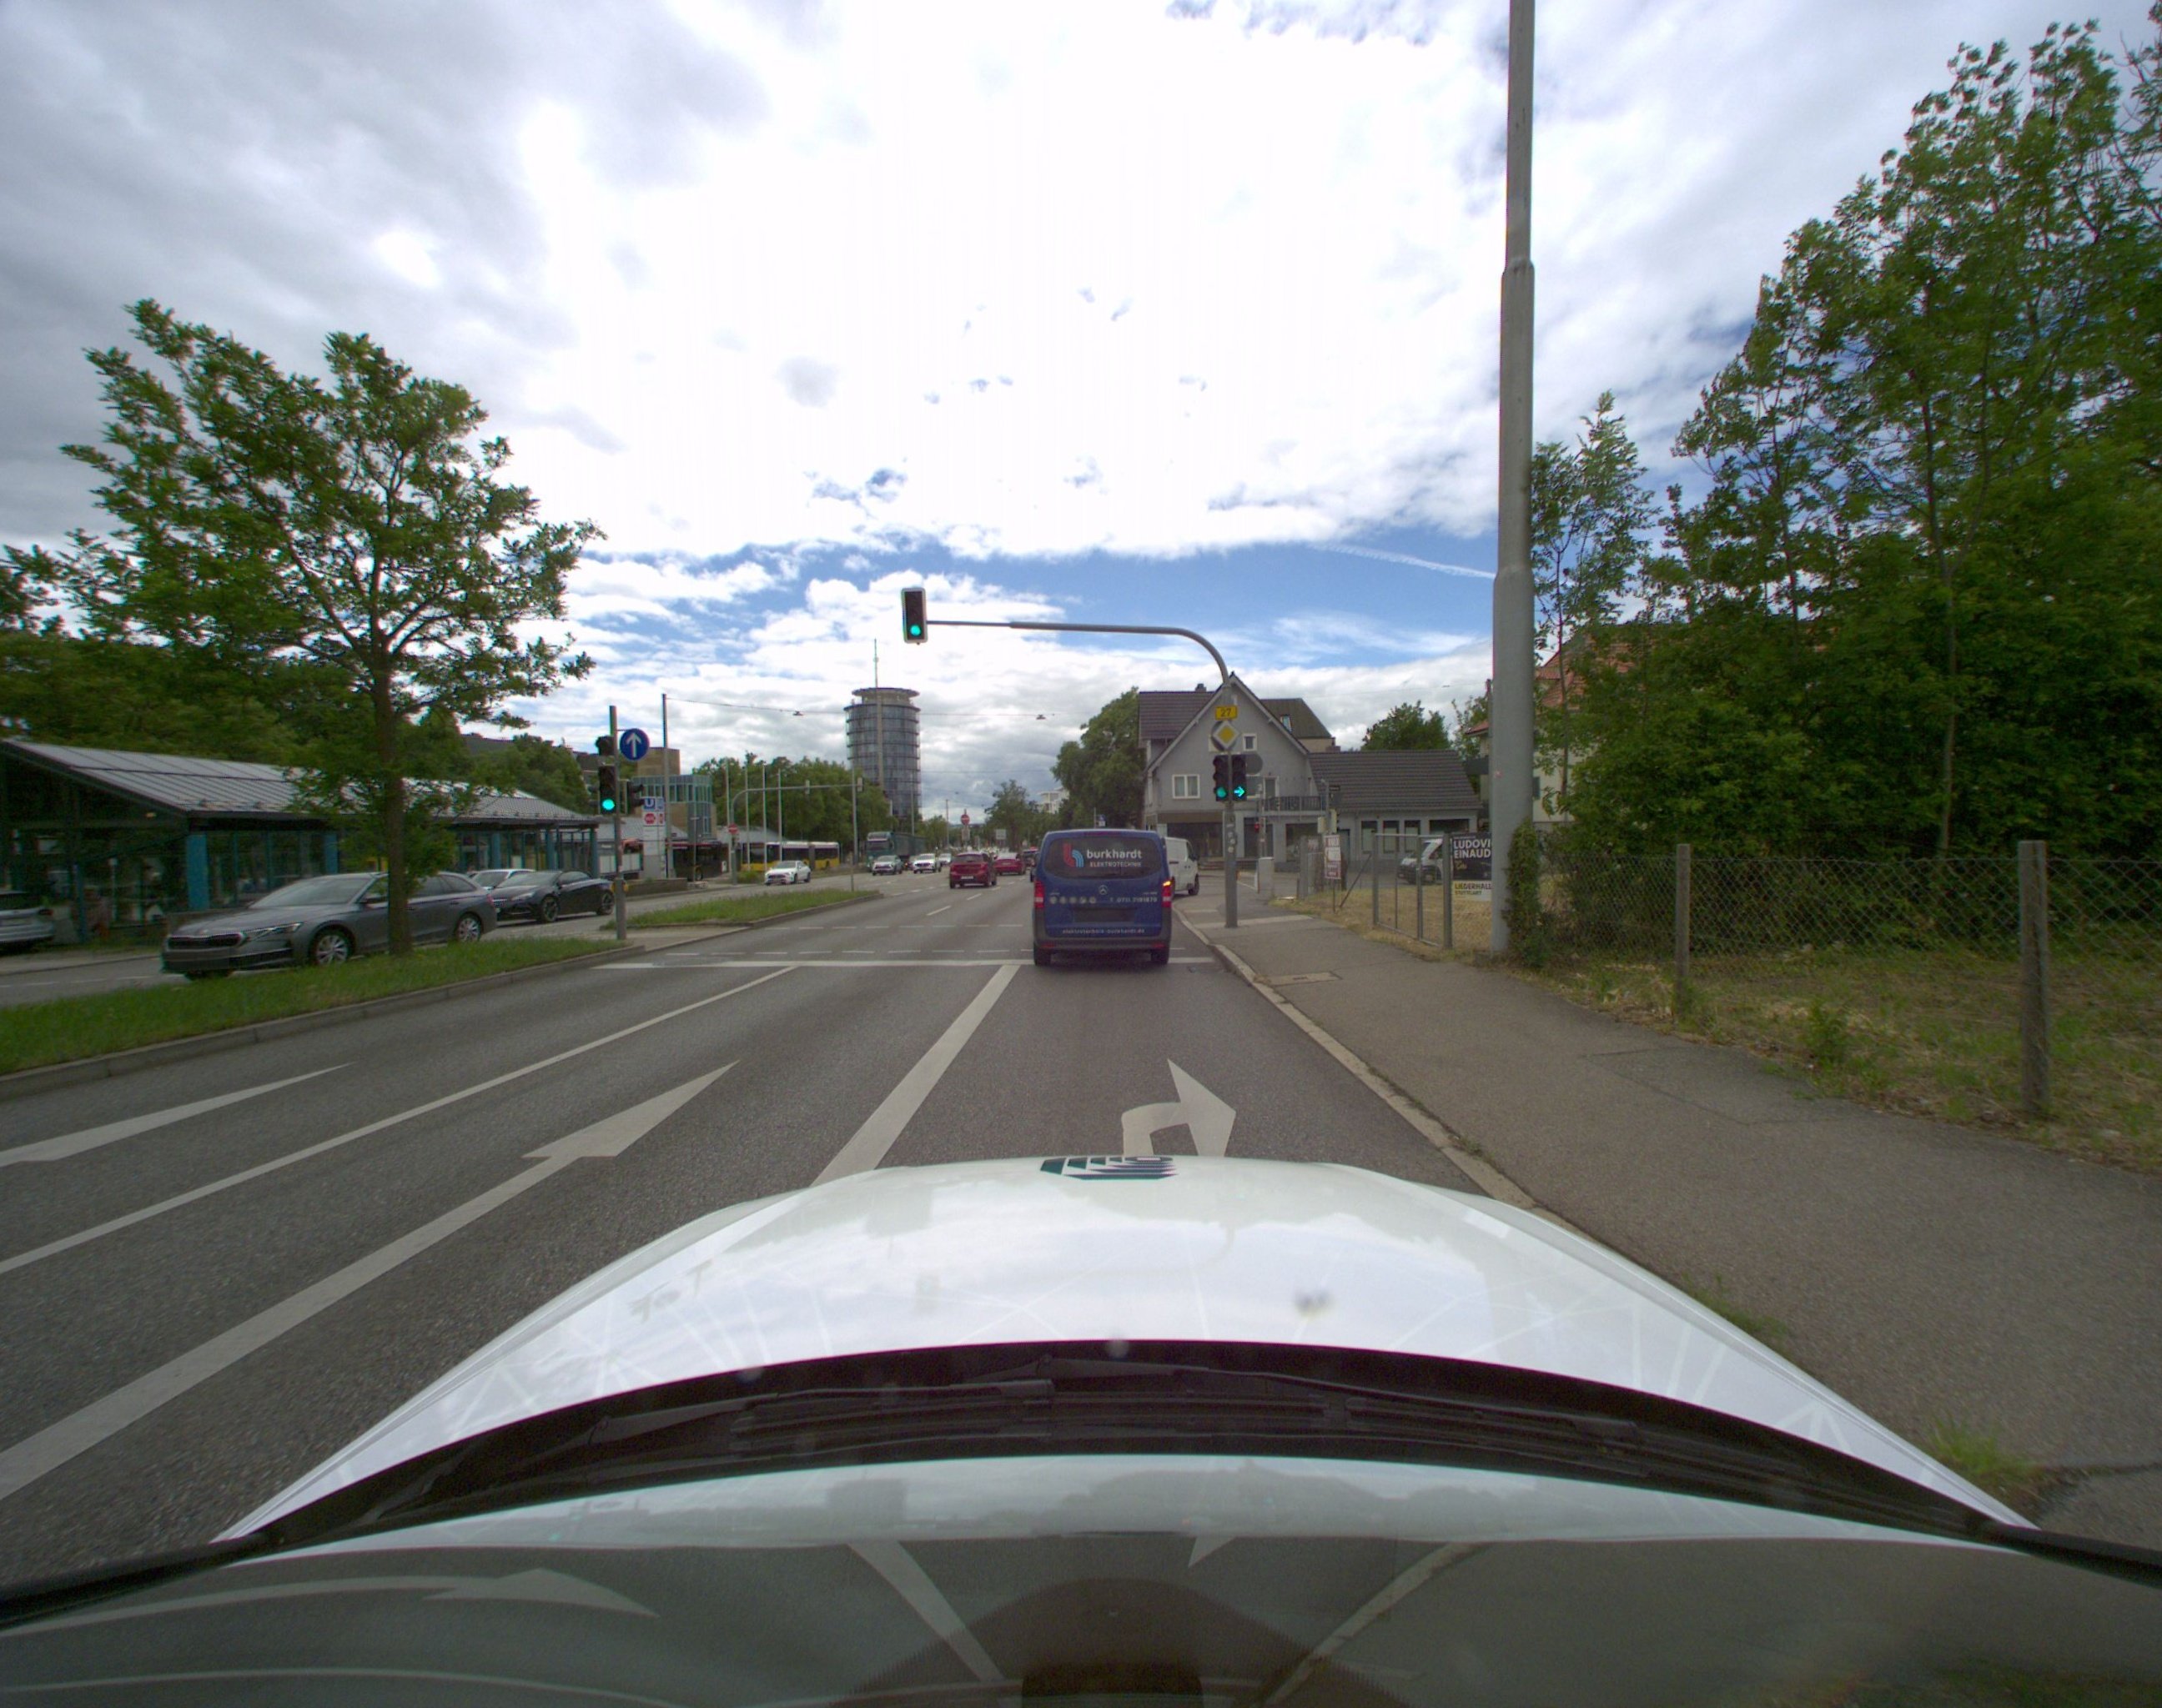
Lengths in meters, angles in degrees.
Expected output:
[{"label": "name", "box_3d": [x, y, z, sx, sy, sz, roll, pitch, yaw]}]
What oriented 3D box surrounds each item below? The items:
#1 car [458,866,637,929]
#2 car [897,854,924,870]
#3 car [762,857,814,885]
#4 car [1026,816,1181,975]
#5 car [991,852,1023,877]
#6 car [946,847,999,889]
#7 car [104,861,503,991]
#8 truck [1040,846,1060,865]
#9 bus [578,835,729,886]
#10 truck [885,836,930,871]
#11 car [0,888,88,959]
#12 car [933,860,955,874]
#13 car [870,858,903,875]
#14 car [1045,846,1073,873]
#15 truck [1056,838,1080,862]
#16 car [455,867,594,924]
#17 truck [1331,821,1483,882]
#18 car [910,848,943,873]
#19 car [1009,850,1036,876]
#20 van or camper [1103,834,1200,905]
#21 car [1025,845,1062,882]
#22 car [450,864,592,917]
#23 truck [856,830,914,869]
[{"label": "car", "box_3d": [-14.610, 1.107, 22.721, 1.809, 1.398, 5.006, -3, 0, -3]}, {"label": "car", "box_3d": [-16.843, 0.755, 80.505, 1.792, 1.417, 3.998, -2, 0, -1]}, {"label": "car", "box_3d": [-18.397, 1.043, 51.307, 1.728, 1.574, 4.503, -2, 0, -2]}, {"label": "car", "box_3d": [0.196, 0.517, 12.552, 1.943, 1.965, 4.537, -1, 0, -3]}, {"label": "car", "box_3d": [-4.819, 0.680, 52.500, 1.867, 1.486, 3.989, -2, -1, -8]}, {"label": "car", "box_3d": [-4.697, 0.570, 35.808, 1.741, 1.723, 3.999, -2, 0, 0]}, {"label": "car", "box_3d": [-11.706, 0.953, 12.848, 1.988, 1.574, 4.512, -2, 0, -2]}, {"label": "truck", "box_3d": [-3.661, 0.208, 96.569, 1.986, 2.165, 5.561, 0, 0, 1]}, {"label": "bus", "box_3d": [-28.938, 0.395, 56.147, 2.942, 3.133, 12.179, -1, 0, 6]}, {"label": "truck", "box_3d": [-19.777, -0.012, 93.147, 3.358, 3.727, 8.024, -2, 0, -1]}, {"label": "car", "box_3d": [-23.713, 1.486, 16.715, 3.979, 1.354, 1.997, -2, 0, -4]}, {"label": "car", "box_3d": [-16.499, 1.505, 98.005, 1.988, 1.574, 3.998, -2, 0, -1]}, {"label": "car", "box_3d": [-16.144, 0.993, 67.819, 1.825, 1.262, 3.997, -2, 0, -2]}, {"label": "car", "box_3d": [-1.475, 0.334, 55.192, 1.741, 1.723, 3.998, -2, 0, -1]}, {"label": "truck", "box_3d": [-1.159, -0.349, 76.796, 1.986, 2.165, 5.561, 0, 0, 1]}, {"label": "car", "box_3d": [-17.948, 1.280, 26.504, 1.617, 1.574, 4.002, -2, 0, 2]}, {"label": "truck", "box_3d": [15.255, -0.109, 38.365, 6.364, 2.701, 2.000, 1, 0, 0]}, {"label": "car", "box_3d": [-12.952, 0.528, 68.440, 1.988, 2.013, 4.176, -2, 0, -2]}, {"label": "car", "box_3d": [-4.837, 0.719, 66.895, 1.992, 2.013, 3.990, 0, 1, -8]}, {"label": "van or camper", "box_3d": [2.418, 0.378, 26.510, 1.977, 2.013, 5.121, 1, 2, 19]}, {"label": "car", "box_3d": [-1.881, 0.436, 41.423, 1.742, 1.723, 3.997, -2, 0, -2]}, {"label": "car", "box_3d": [-17.965, 1.122, 26.385, 1.741, 1.517, 4.001, -1, 0, 1]}, {"label": "truck", "box_3d": [-19.707, -0.405, 82.785, 3.359, 3.727, 11.273, -1, 0, -2]}]
